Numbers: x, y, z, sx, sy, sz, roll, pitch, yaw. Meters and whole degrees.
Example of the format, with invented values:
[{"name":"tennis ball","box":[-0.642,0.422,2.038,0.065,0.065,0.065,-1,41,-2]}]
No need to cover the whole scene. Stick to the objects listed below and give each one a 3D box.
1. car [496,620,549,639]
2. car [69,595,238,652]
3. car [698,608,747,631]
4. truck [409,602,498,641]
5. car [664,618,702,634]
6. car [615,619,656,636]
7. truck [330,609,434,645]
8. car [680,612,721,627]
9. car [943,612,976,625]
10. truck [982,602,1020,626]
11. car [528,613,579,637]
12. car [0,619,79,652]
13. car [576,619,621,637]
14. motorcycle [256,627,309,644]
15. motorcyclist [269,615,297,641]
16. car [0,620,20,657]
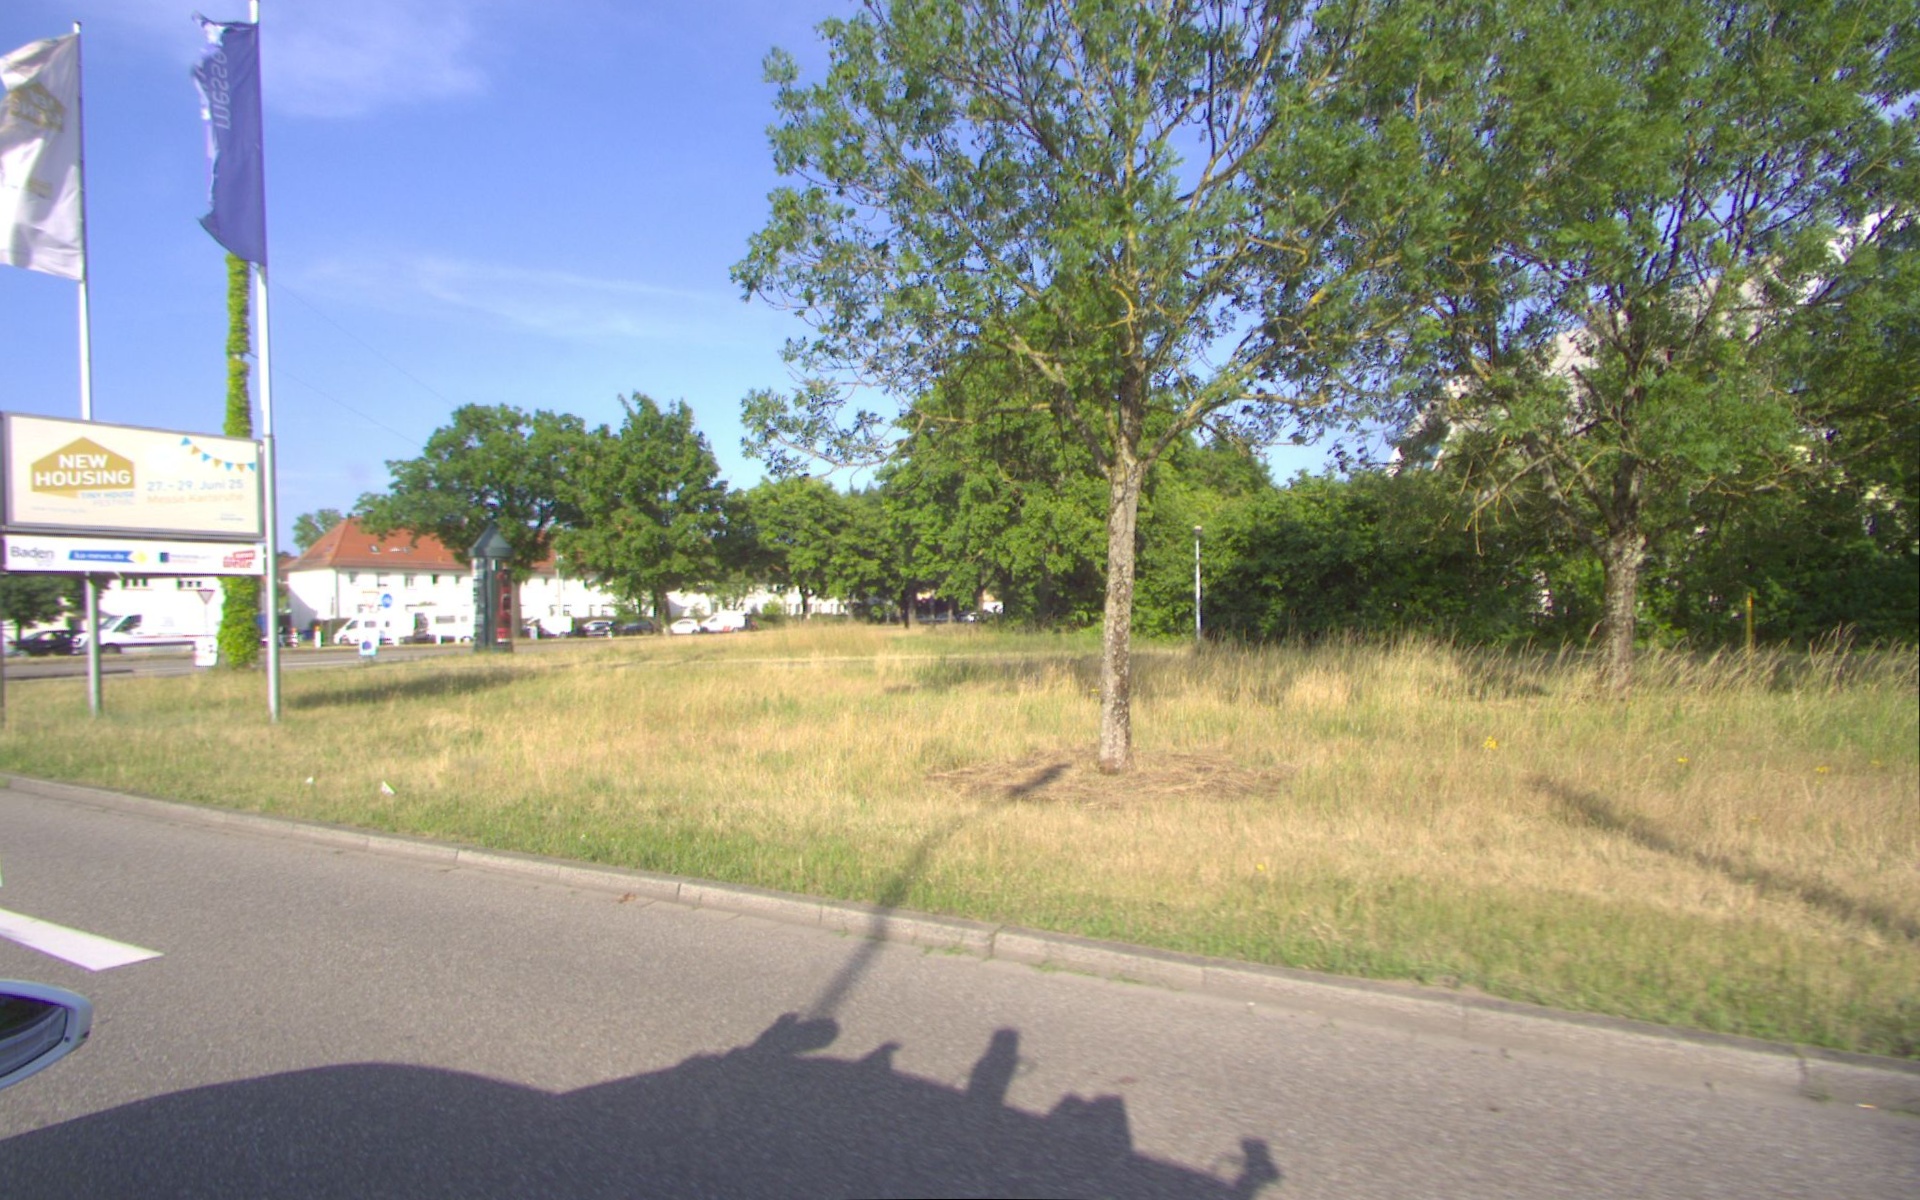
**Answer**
[{"name":"car","box":[-36.838,2.467,84.351,3.840,1.475,1.893,-1,-1,-17]},{"name":"car","box":[-39.402,1.122,49.136,1.972,2.617,6.196,-1,-1,32]},{"name":"car","box":[-24.608,2.035,103.925,4.888,2.261,1.998,-1,0,-14]},{"name":"truck","box":[-39.739,1.673,78.699,5.968,2.892,1.894,-1,0,-14]},{"name":"car","box":[-27.257,2.548,98.665,3.368,1.533,1.895,-1,-1,-10]},{"name":"car","box":[-30.908,2.582,95.453,3.368,1.533,1.895,-1,-1,-10]},{"name":"truck","box":[-42.230,1.979,73.263,6.234,2.557,2.277,0,0,-3]},{"name":"car","box":[-31.544,2.371,121.625,4.908,1.741,1.990,-2,-1,32]},{"name":"car","box":[-0.102,2.632,144.801,4.456,1.745,1.999,-1,-1,-11]},{"name":"truck","box":[6.351,2.157,154.980,5.409,3.510,1.996,-1,0,-18]},{"name":"car","box":[-35.297,2.184,87.119,3.838,1.945,1.894,-1,0,-14]},{"name":"car","box":[-44.477,1.672,47.288,1.692,1.472,3.978,-1,-1,33]},{"name":"car","box":[-32.487,2.481,90.038,3.433,1.533,1.895,-1,-1,-10]},{"name":"motorcycle","box":[-35.939,1.876,53.162,0.681,0.878,2.267,-1,-1,31]},{"name":"motorcyclist","box":[-35.942,1.482,53.156,0.670,1.369,1.064,-1,0,31]},{"name":"car","box":[-43.497,1.682,42.421,1.814,1.583,5.083,-1,-1,33]}]
